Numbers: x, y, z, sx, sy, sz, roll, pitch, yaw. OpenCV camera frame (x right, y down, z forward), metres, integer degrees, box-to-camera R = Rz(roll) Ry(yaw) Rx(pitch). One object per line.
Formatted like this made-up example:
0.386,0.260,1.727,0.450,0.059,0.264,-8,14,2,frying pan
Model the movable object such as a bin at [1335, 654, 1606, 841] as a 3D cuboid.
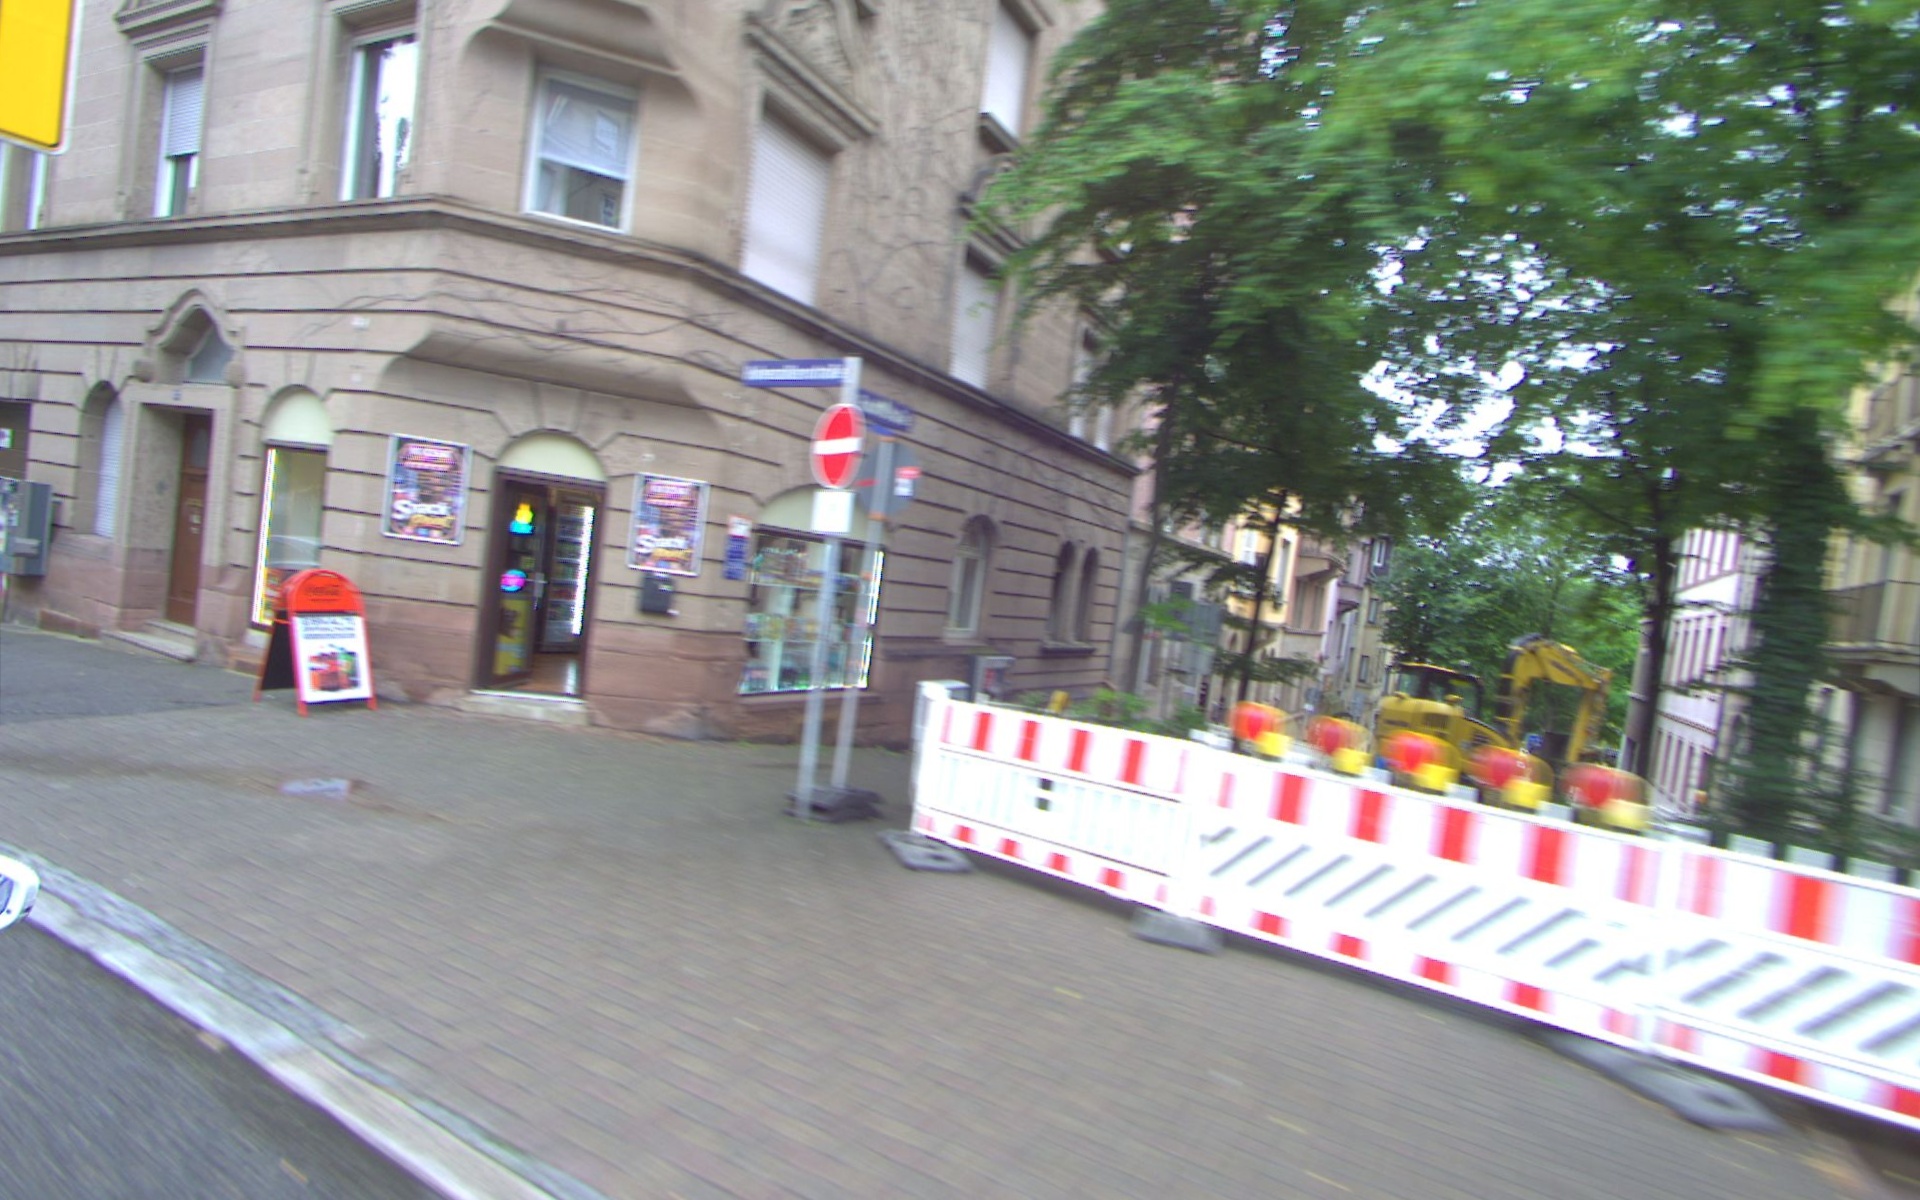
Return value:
9.957,2.853,19.718,3.947,3.000,2.501,7,0,-22,movable object such as a bin
